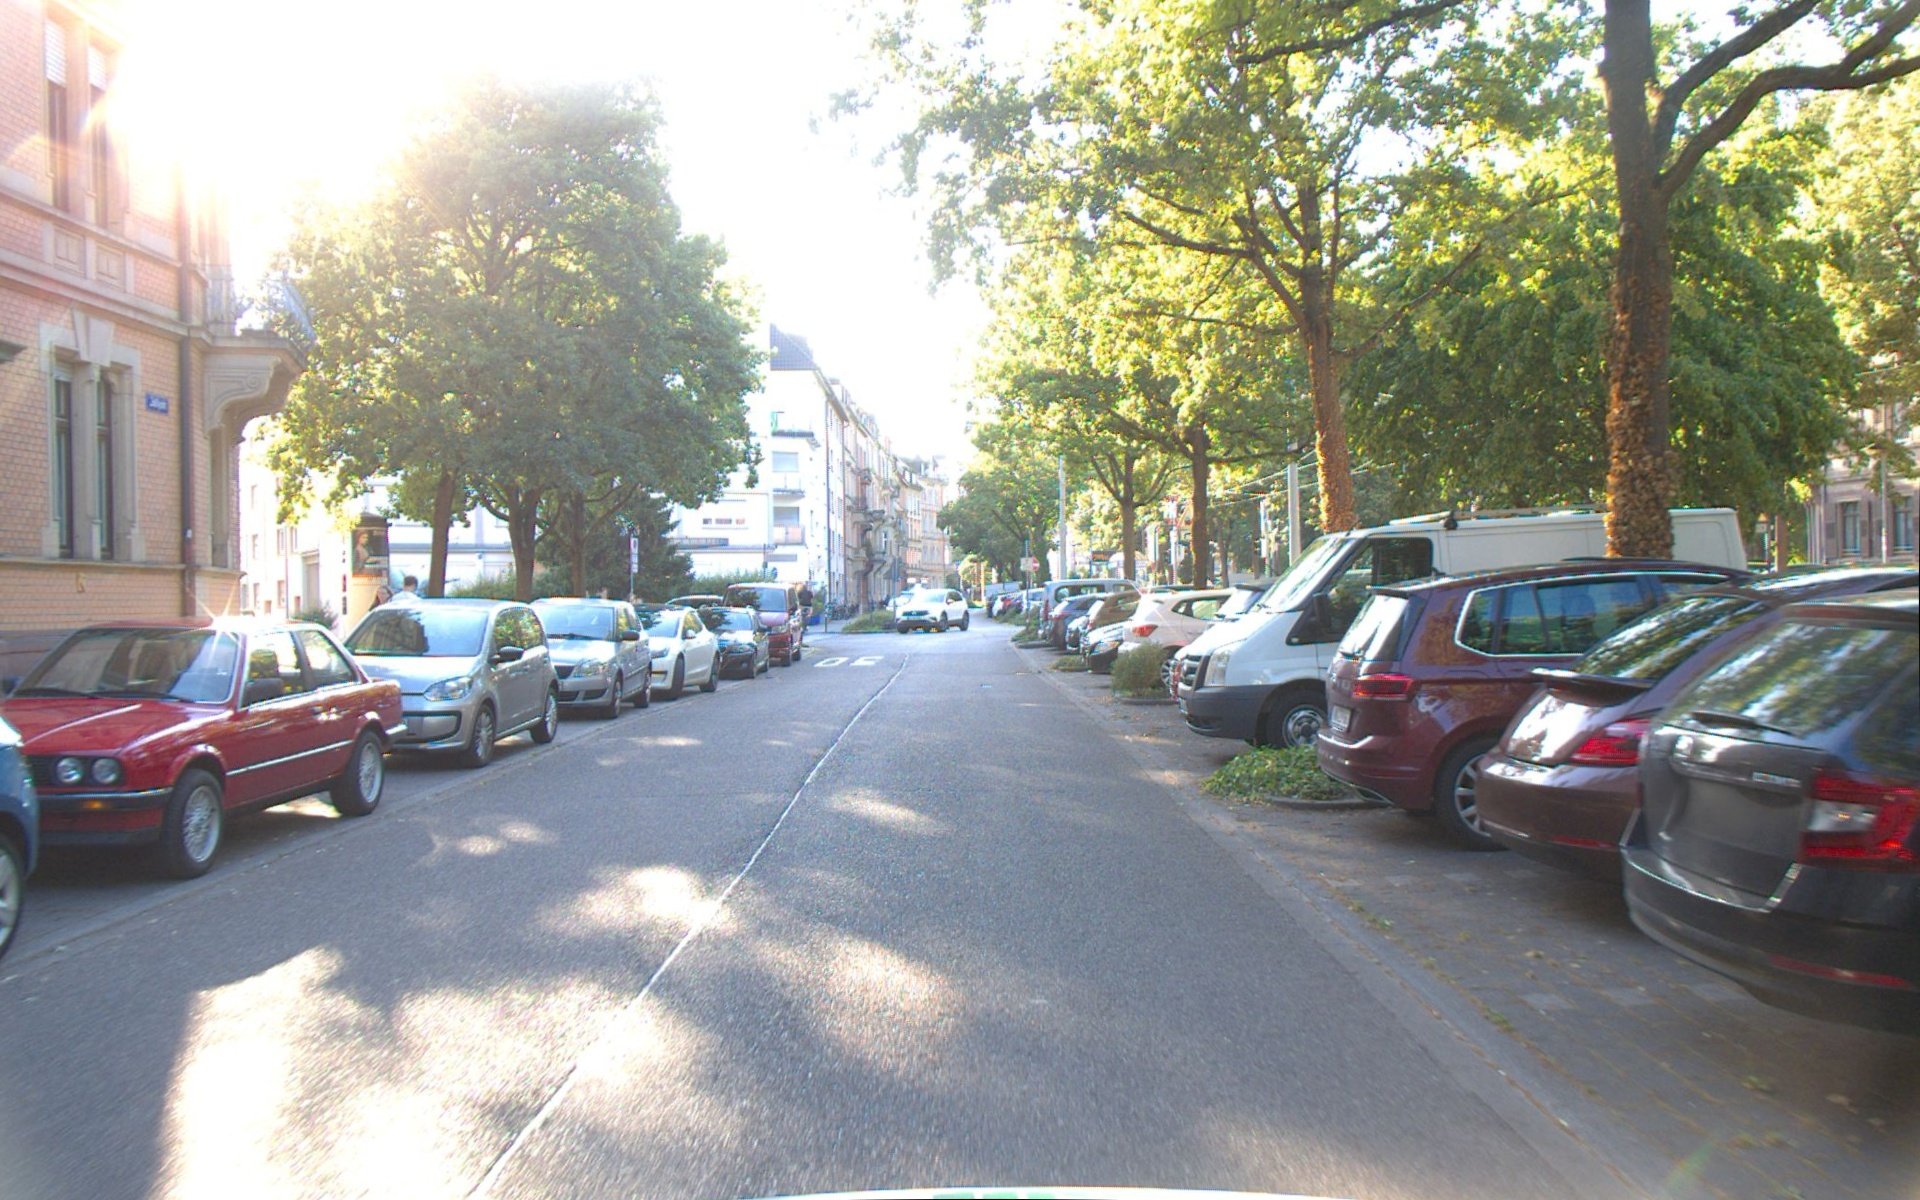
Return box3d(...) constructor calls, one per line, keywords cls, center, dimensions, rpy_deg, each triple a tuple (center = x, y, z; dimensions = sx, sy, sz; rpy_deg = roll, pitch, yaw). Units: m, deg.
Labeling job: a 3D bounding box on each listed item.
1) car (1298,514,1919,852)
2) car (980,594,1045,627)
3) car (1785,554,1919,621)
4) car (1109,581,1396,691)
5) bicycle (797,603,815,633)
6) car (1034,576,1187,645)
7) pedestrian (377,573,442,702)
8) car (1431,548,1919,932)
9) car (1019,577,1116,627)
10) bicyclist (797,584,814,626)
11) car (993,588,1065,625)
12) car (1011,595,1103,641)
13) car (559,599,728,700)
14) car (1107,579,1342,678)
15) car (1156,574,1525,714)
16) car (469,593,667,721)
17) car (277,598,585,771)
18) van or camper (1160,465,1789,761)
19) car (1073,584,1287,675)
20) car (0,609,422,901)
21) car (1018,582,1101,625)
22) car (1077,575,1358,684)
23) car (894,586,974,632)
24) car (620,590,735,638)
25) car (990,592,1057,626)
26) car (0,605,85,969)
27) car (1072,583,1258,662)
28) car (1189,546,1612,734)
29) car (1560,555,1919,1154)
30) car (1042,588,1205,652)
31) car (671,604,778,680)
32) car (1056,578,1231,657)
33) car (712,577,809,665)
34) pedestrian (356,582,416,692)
box3d(cls="car", center=(4.235, 0.439, 10.129), dimensions=(3.905, 1.721, 1.859), rpy_deg=(-3, 0, 1))
box3d(cls="car", center=(3.366, 0.658, 105.986), dimensions=(3.901, 2.049, 2.001), rpy_deg=(-1, -2, 11))
box3d(cls="car", center=(25.040, -0.311, 44.835), dimensions=(4.604, 1.713, 1.999), rpy_deg=(-1, -2, 23))
box3d(cls="car", center=(4.294, 0.541, 24.684), dimensions=(3.907, 1.575, 1.858), rpy_deg=(0, -2, -3))
box3d(cls="bicycle", center=(-5.886, 0.680, 63.154), dimensions=(0.628, 1.119, 1.942), rpy_deg=(0, -2, -4))
box3d(cls="car", center=(4.052, 0.293, 44.973), dimensions=(3.907, 1.825, 1.858), rpy_deg=(0, -2, -3))
box3d(cls="pedestrian", center=(-7.446, 0.494, 22.396), dimensions=(0.585, 1.697, 0.708), rpy_deg=(-1, 2, -1))
box3d(cls="car", center=(4.424, 0.507, 7.668), dimensions=(3.905, 1.486, 1.859), rpy_deg=(-3, 0, 1))
box3d(cls="car", center=(4.637, 0.097, 70.935), dimensions=(3.901, 2.049, 2.001), rpy_deg=(-1, -2, 11))
box3d(cls="bicyclist", center=(-5.887, 0.197, 63.158), dimensions=(0.615, 1.601, 0.801), rpy_deg=(0, -2, -4))
box3d(cls="car", center=(3.984, 0.375, 95.601), dimensions=(3.901, 2.049, 2.001), rpy_deg=(-1, -2, 11))
box3d(cls="car", center=(4.373, 0.831, 74.449), dimensions=(3.901, 2.049, 2.001), rpy_deg=(-1, -2, 11))
box3d(cls="car", center=(-5.009, 0.739, 26.763), dimensions=(1.719, 1.491, 4.269), rpy_deg=(0, 0, 3))
box3d(cls="car", center=(4.739, 0.518, 30.014), dimensions=(3.907, 1.729, 1.858), rpy_deg=(0, -2, -3))
box3d(cls="car", center=(4.422, 0.515, 19.629), dimensions=(3.907, 1.575, 1.858), rpy_deg=(0, -2, -3))
box3d(cls="car", center=(-5.113, 0.685, 22.089), dimensions=(1.721, 1.542, 4.160), rpy_deg=(0, 0, -1))
box3d(cls="car", center=(-5.012, 0.728, 16.230), dimensions=(1.668, 1.454, 3.878), rpy_deg=(1, 0, 1))
box3d(cls="van or camper", center=(4.369, 0.124, 14.692), dimensions=(4.881, 2.419, 2.184), rpy_deg=(0, -2, -2))
box3d(cls="car", center=(4.288, 0.591, 32.665), dimensions=(3.907, 1.729, 1.858), rpy_deg=(0, -2, -3))
box3d(cls="car", center=(-4.963, 0.806, 10.560), dimensions=(1.636, 1.454, 4.241), rpy_deg=(0, 0, 0))
box3d(cls="car", center=(4.962, 0.199, 82.207), dimensions=(3.901, 2.049, 2.001), rpy_deg=(-1, -2, 11))
box3d(cls="car", center=(4.181, 0.496, 27.300), dimensions=(4.302, 1.729, 1.858), rpy_deg=(0, -2, -3))
box3d(cls="car", center=(-0.966, 0.342, 63.905), dimensions=(1.741, 1.703, 4.489), rpy_deg=(0, 0, 18))
box3d(cls="car", center=(-10.437, 0.533, 61.308), dimensions=(3.904, 1.736, 2.000), rpy_deg=(0, -2, 1))
box3d(cls="car", center=(3.948, 0.560, 102.458), dimensions=(3.901, 2.049, 2.001), rpy_deg=(-1, -2, 11))
box3d(cls="car", center=(-4.806, 0.783, 5.563), dimensions=(1.636, 1.512, 3.999), rpy_deg=(0, 0, -1))
box3d(cls="car", center=(4.570, 0.516, 37.328), dimensions=(3.907, 1.729, 1.858), rpy_deg=(0, -2, -3))
box3d(cls="car", center=(4.491, 0.388, 17.257), dimensions=(3.907, 1.849, 1.858), rpy_deg=(0, 0, -3))
box3d(cls="car", center=(4.261, 0.537, 5.053), dimensions=(4.133, 1.478, 1.865), rpy_deg=(-3, 0, 1))
box3d(cls="car", center=(4.145, 0.521, 42.298), dimensions=(3.907, 1.591, 1.858), rpy_deg=(0, -2, -3))
box3d(cls="car", center=(-4.970, 0.850, 35.421), dimensions=(1.720, 1.491, 4.267), rpy_deg=(0, 0, -1))
box3d(cls="car", center=(4.354, 0.430, 39.626), dimensions=(3.907, 1.857, 1.858), rpy_deg=(0, -2, -3))
box3d(cls="car", center=(-4.870, 0.480, 40.957), dimensions=(1.917, 2.053, 4.267), rpy_deg=(0, 0, -1))
box3d(cls="pedestrian", center=(-8.538, 0.540, 24.617), dimensions=(0.585, 1.577, 0.708), rpy_deg=(-1, 2, -1))
